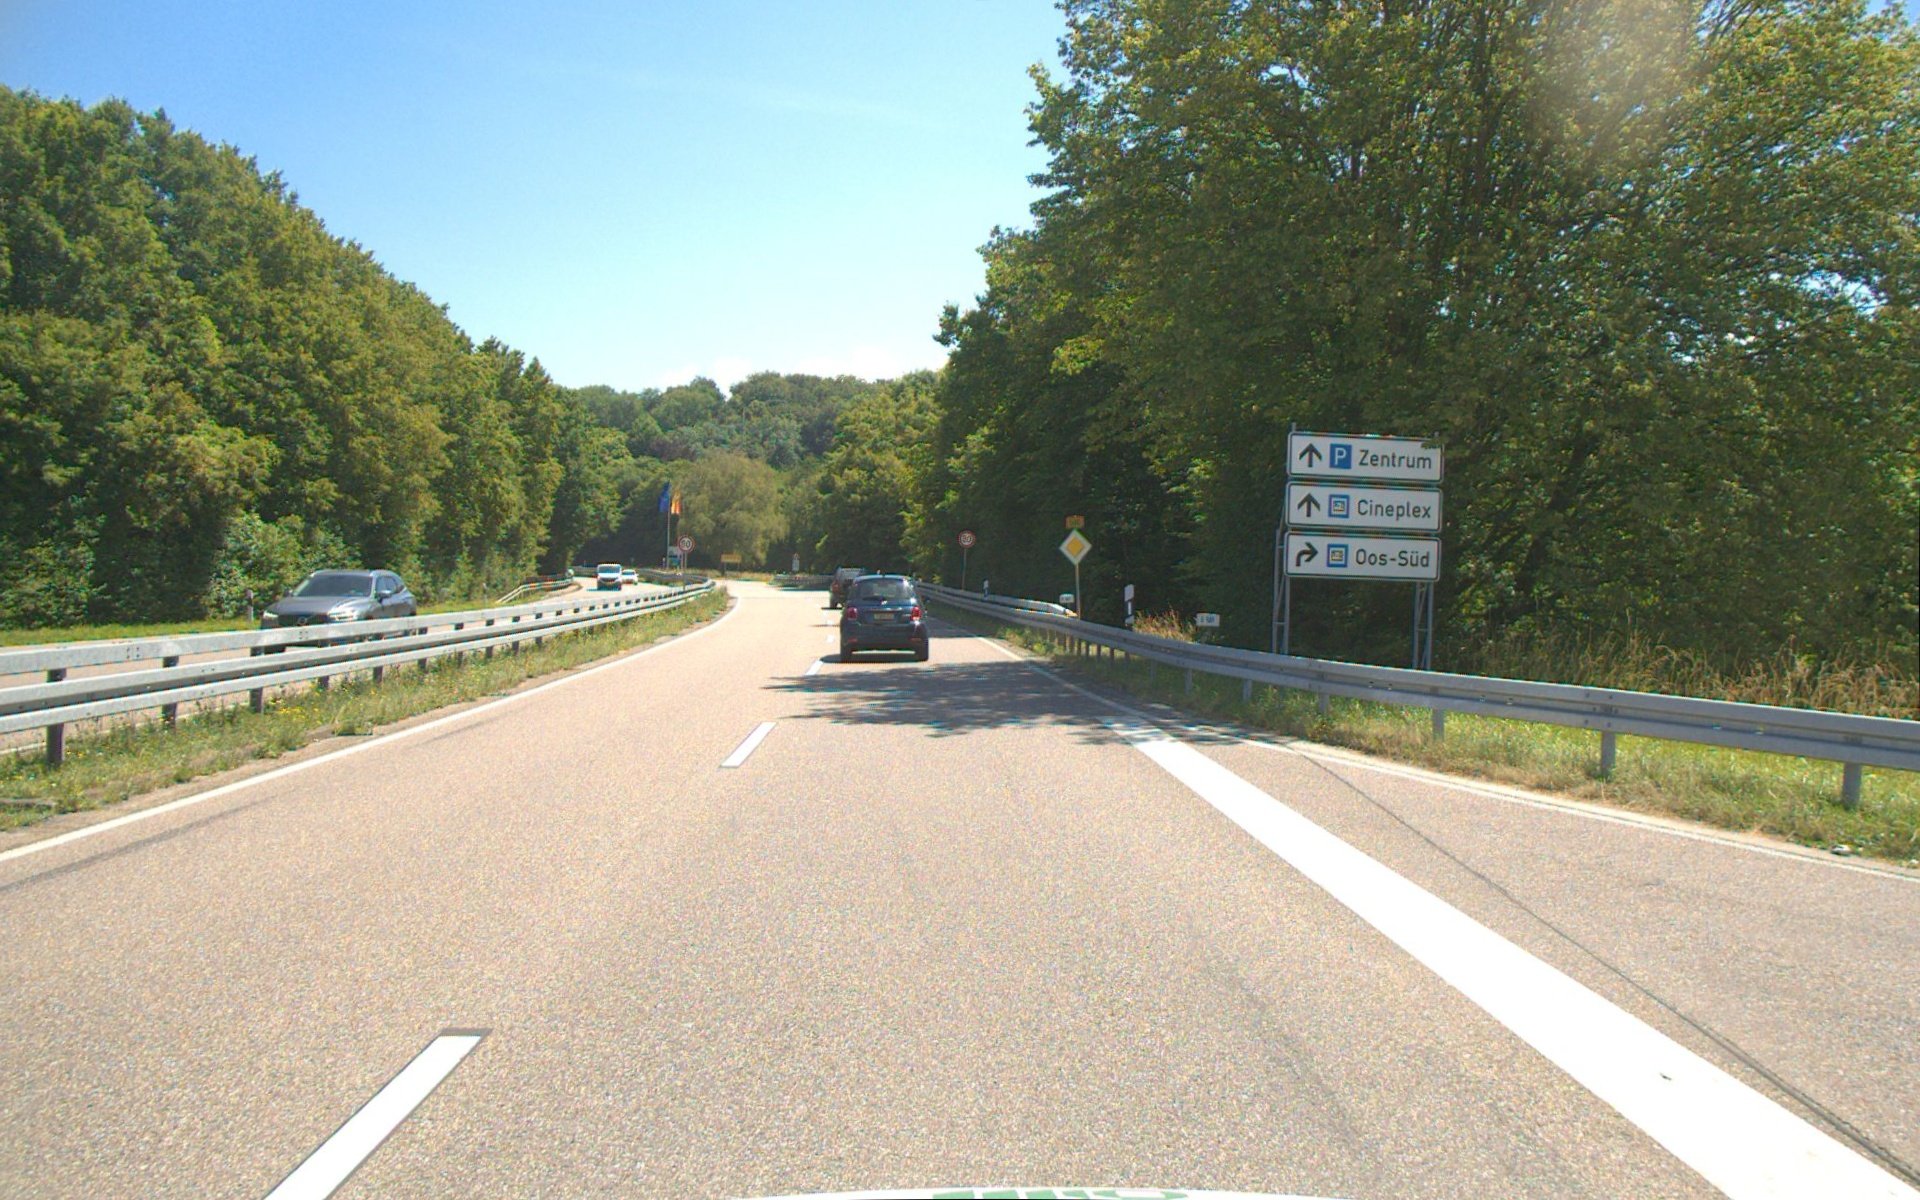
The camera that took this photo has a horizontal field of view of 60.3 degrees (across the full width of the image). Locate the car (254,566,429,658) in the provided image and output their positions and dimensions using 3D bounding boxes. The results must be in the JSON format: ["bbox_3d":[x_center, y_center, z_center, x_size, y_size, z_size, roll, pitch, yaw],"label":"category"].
[{"bbox_3d":[-11.978,0.166,32.351,1.787,1.646,4.539,-1,1,-2],"label":"car"}]

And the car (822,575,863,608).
[{"bbox_3d":[-4.977,-0.375,69.864,1.497,1.336,3.409,-1,1,-8],"label":"car"}]

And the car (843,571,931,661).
[{"bbox_3d":[-1.389,0.238,30.373,1.484,1.527,3.587,-1,1,-4],"label":"car"}]

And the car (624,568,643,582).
[{"bbox_3d":[-33.507,-2.578,169.992,1.620,1.472,4.213,-1,1,-8],"label":"car"}]

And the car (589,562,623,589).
[{"bbox_3d":[-27.280,-1.916,127.518,1.951,1.985,5.633,-1,1,-6],"label":"car"}]
